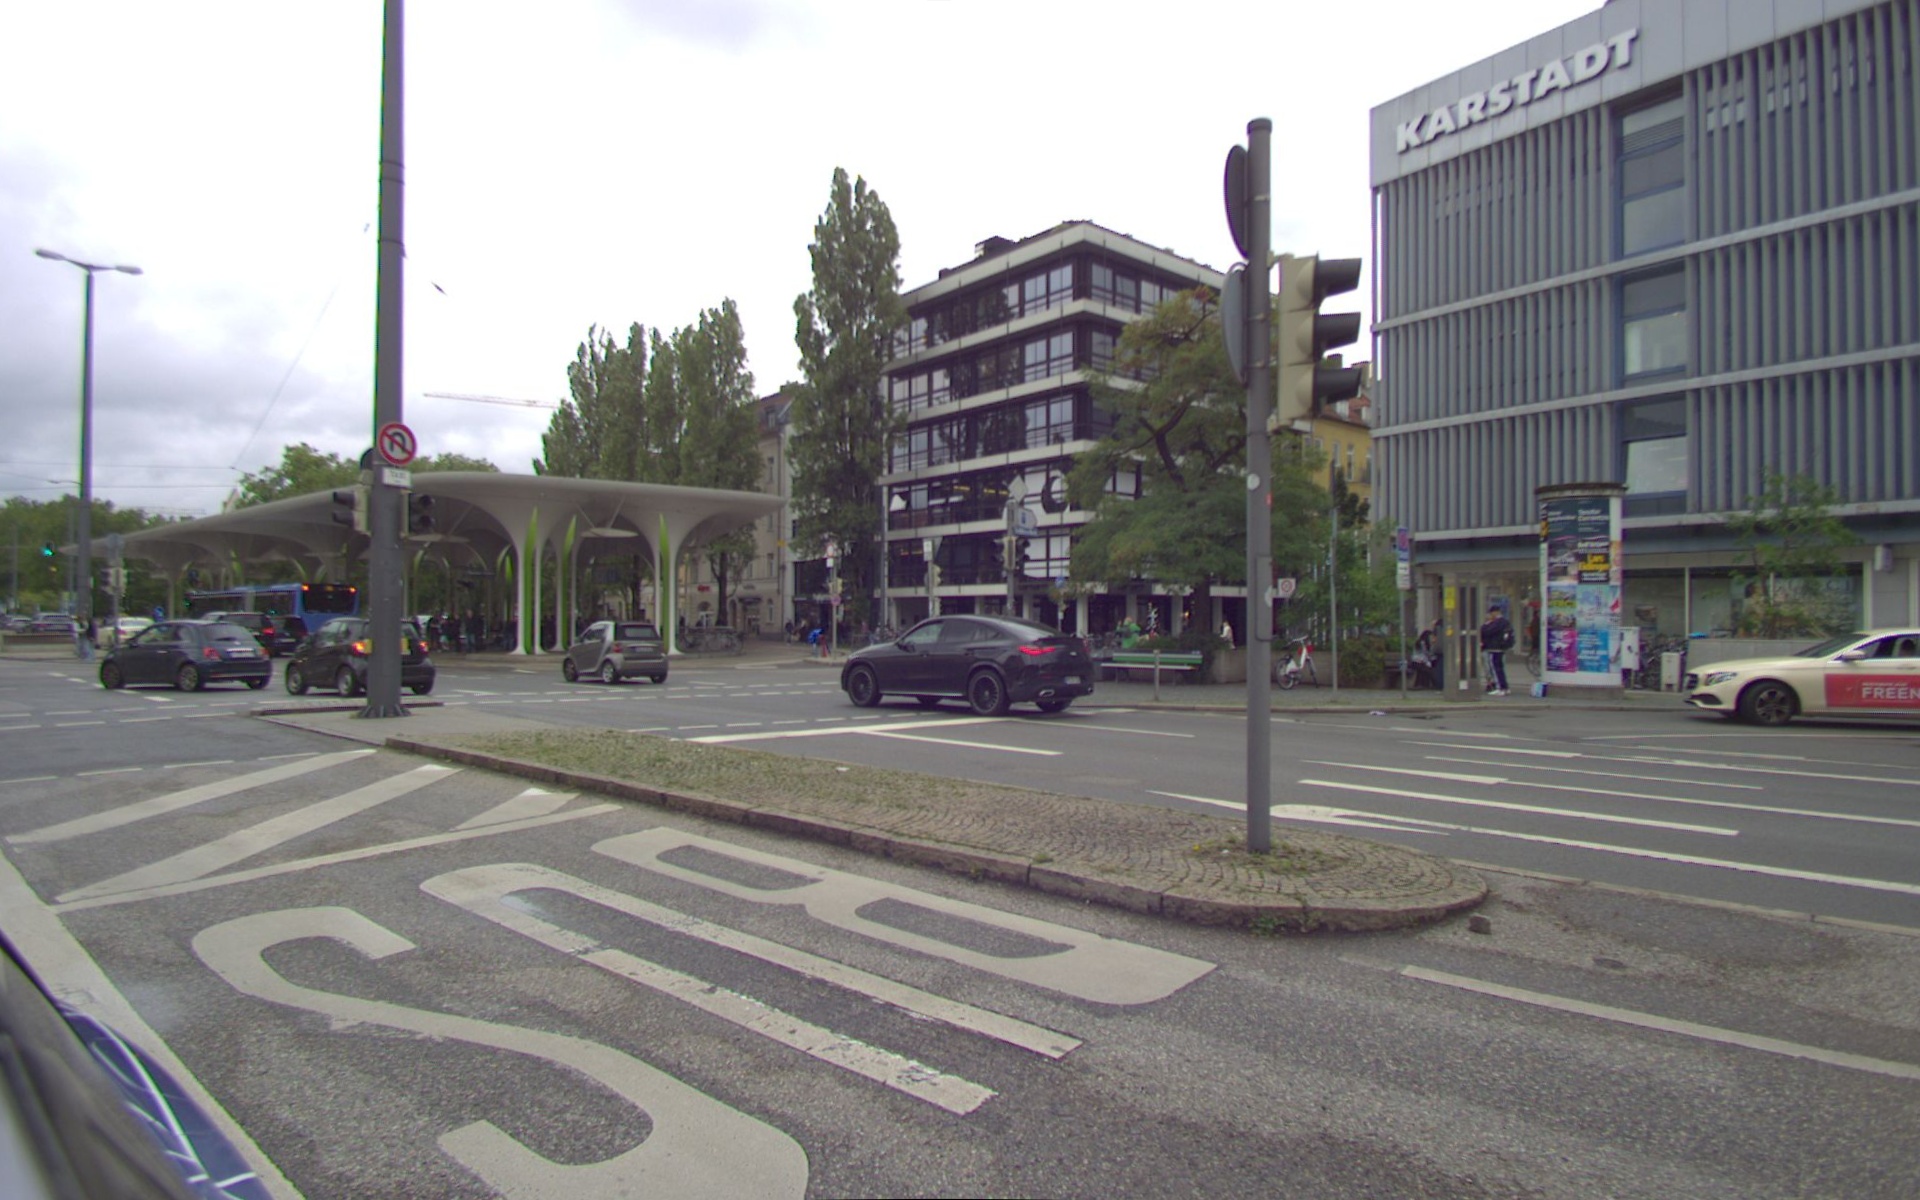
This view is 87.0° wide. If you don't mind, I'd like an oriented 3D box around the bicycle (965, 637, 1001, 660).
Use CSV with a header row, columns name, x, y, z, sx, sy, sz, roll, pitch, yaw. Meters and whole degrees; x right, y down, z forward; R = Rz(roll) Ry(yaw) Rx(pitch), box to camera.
name,x,y,z,sx,sy,sz,roll,pitch,yaw
bicycle,1.171,2.452,51.386,2.044,1.142,0.561,1,-2,-44

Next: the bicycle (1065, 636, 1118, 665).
name,x,y,z,sx,sy,sz,roll,pitch,yaw
bicycle,4.735,1.814,36.518,1.925,1.006,0.503,-1,-2,42

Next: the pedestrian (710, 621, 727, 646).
name,x,y,z,sx,sy,sz,roll,pitch,yaw
pedestrian,-17.373,2.419,72.831,0.943,1.786,0.980,0,-2,9

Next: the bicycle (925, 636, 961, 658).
name,x,y,z,sx,sy,sz,roll,pitch,yaw
bicycle,-0.885,2.468,53.687,2.044,1.142,0.561,1,-2,-44

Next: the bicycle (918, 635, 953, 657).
name,x,y,z,sx,sy,sz,roll,pitch,yaw
bicycle,-1.307,2.471,54.136,2.044,1.142,0.561,1,-2,-44

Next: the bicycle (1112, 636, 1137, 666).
name,x,y,z,sx,sy,sz,roll,pitch,yaw
bicycle,5.867,1.802,36.151,0.503,1.006,1.926,0,-2,-2

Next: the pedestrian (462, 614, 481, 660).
name,x,y,z,sx,sy,sz,roll,pitch,yaw
pedestrian,-20.258,1.522,41.975,0.656,1.865,0.790,1,-2,-29

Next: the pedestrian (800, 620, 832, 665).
name,x,y,z,sx,sy,sz,roll,pitch,yaw
pedestrian,-5.850,1.726,41.042,0.980,1.791,0.849,-2,-2,42

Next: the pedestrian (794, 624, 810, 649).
name,x,y,z,sx,sy,sz,roll,pitch,yaw
pedestrian,-11.001,2.529,70.287,0.788,1.737,0.828,1,-2,-38

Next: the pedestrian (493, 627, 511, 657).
name,x,y,z,sx,sy,sz,roll,pitch,yaw
pedestrian,-20.511,1.867,45.330,0.591,1.348,0.542,-2,-2,40

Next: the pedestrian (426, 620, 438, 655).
name,x,y,z,sx,sy,sz,roll,pitch,yaw
pedestrian,-23.196,1.653,44.489,0.316,1.514,0.331,-1,-2,32

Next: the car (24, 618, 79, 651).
name,x,y,z,sx,sy,sz,roll,pitch,yaw
car,-49.509,1.839,55.142,3.999,1.696,1.823,-1,0,42

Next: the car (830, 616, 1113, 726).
name,x,y,z,sx,sy,sz,roll,pitch,yaw
car,0.078,1.082,16.913,4.616,1.589,1.972,-1,-2,42

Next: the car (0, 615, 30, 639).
name,x,y,z,sx,sy,sz,roll,pitch,yaw
car,-64.915,1.855,68.959,3.998,1.549,1.824,-1,0,41

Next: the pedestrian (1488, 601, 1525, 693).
name,x,y,z,sx,sy,sz,roll,pitch,yaw
pedestrian,10.899,0.914,20.175,0.510,1.792,0.555,-1,0,44

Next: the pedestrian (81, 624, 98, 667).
name,x,y,z,sx,sy,sz,roll,pitch,yaw
pedestrian,-29.601,1.538,34.423,0.380,1.430,0.352,-2,-2,41

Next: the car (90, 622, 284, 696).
name,x,y,z,sx,sy,sz,roll,pitch,yaw
car,-16.483,1.227,21.613,3.359,1.491,1.619,-1,-3,17

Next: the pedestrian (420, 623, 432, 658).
name,x,y,z,sx,sy,sz,roll,pitch,yaw
pedestrian,-23.358,1.774,44.253,0.316,1.514,0.317,-1,-2,32

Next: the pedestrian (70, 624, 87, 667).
name,x,y,z,sx,sy,sz,roll,pitch,yaw
pedestrian,-30.028,1.542,34.485,0.380,1.430,0.352,-2,-2,41

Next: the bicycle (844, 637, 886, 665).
name,x,y,z,sx,sy,sz,roll,pitch,yaw
bicycle,-3.870,2.068,41.351,1.660,1.106,0.470,-1,-2,17

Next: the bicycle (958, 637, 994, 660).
name,x,y,z,sx,sy,sz,roll,pitch,yaw
bicycle,0.836,2.455,51.903,2.044,1.142,0.561,1,-2,-44

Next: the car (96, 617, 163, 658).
name,x,y,z,sx,sy,sz,roll,pitch,yaw
car,-36.620,1.615,44.596,3.999,1.696,1.737,-1,0,42

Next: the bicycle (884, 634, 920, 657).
name,x,y,z,sx,sy,sz,roll,pitch,yaw
bicycle,-2.727,2.130,47.462,1.655,1.106,0.472,0,-2,8

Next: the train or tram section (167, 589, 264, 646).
name,x,y,z,sx,sy,sz,roll,pitch,yaw
train or tram section,-41.844,1.009,56.824,7.403,3.024,2.804,-1,-2,41

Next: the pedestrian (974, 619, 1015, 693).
name,x,y,z,sx,sy,sz,roll,pitch,yaw
pedestrian,0.763,1.213,22.190,0.754,1.563,0.636,-1,0,16

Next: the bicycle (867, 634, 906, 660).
name,x,y,z,sx,sy,sz,roll,pitch,yaw
bicycle,-3.227,2.051,44.455,1.660,1.106,0.470,-1,-2,17

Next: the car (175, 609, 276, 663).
name,x,y,z,sx,sy,sz,roll,pitch,yaw
car,-25.830,1.233,35.546,4.306,1.785,1.972,-1,-3,42

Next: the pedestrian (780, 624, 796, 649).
name,x,y,z,sx,sy,sz,roll,pitch,yaw
pedestrian,-11.566,2.453,68.013,0.821,1.712,0.907,1,-2,-27

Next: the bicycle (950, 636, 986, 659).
name,x,y,z,sx,sy,sz,roll,pitch,yaw
bicycle,0.424,2.458,52.363,2.044,1.142,0.561,1,-2,-44

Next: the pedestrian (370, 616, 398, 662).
name,x,y,z,sx,sy,sz,roll,pitch,yaw
pedestrian,-22.534,1.519,39.562,0.788,1.762,0.702,-2,-2,40

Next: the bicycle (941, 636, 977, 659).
name,x,y,z,sx,sy,sz,roll,pitch,yaw
bicycle,-0.044,2.461,52.843,2.044,1.142,0.561,1,-2,-44

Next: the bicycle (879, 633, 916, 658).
name,x,y,z,sx,sy,sz,roll,pitch,yaw
bicycle,-2.830,2.043,45.807,1.660,1.106,0.470,-1,-2,17

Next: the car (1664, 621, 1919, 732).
name,x,y,z,sx,sy,sz,roll,pitch,yaw
car,13.119,1.070,14.872,4.277,1.522,1.843,-1,-2,27

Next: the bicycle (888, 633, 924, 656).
name,x,y,z,sx,sy,sz,roll,pitch,yaw
bicycle,-2.601,2.148,48.728,1.655,1.106,0.472,0,-2,8

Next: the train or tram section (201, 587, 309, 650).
name,x,y,z,sx,sy,sz,roll,pitch,yaw
train or tram section,-36.284,0.961,51.991,7.403,3.024,2.804,-1,-2,41

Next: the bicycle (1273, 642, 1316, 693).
name,x,y,z,sx,sy,sz,roll,pitch,yaw
bicycle,7.000,1.401,21.156,0.419,1.024,1.281,-1,-2,39

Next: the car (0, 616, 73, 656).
name,x,y,z,sx,sy,sz,roll,pitch,yaw
car,-37.566,1.420,41.064,3.999,1.481,1.897,0,0,42

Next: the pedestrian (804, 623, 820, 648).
name,x,y,z,sx,sy,sz,roll,pitch,yaw
pedestrian,-10.369,2.518,70.960,0.788,1.737,0.828,1,-2,-38

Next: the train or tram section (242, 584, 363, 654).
name,x,y,z,sx,sy,sz,roll,pitch,yaw
train or tram section,-30.696,0.909,47.121,7.403,3.024,2.804,-1,-2,41

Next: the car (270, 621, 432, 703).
name,x,y,z,sx,sy,sz,roll,pitch,yaw
car,-12.012,1.169,19.964,2.776,1.518,1.547,-1,-1,28

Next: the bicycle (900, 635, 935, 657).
name,x,y,z,sx,sy,sz,roll,pitch,yaw
bicycle,-2.303,2.480,55.057,2.044,1.142,0.561,1,-2,-44

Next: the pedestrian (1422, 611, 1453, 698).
name,x,y,z,sx,sy,sz,roll,pitch,yaw
pedestrian,9.579,1.074,20.295,0.459,1.712,0.426,-1,0,40

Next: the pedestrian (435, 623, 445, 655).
name,x,y,z,sx,sy,sz,roll,pitch,yaw
pedestrian,-22.792,1.711,44.346,0.270,1.387,0.299,-1,-2,39

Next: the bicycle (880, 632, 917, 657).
name,x,y,z,sx,sy,sz,roll,pitch,yaw
bicycle,-2.841,2.041,46.522,1.660,1.106,0.470,-1,-2,17

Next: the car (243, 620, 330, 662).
name,x,y,z,sx,sy,sz,roll,pitch,yaw
car,-26.893,1.605,40.376,3.998,1.597,1.907,-1,-2,41

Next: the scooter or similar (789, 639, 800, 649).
name,x,y,z,sx,sy,sz,roll,pitch,yaw
scooter or similar,-11.560,3.089,70.820,0.511,0.720,0.681,1,-2,-38

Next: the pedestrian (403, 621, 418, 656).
name,x,y,z,sx,sy,sz,roll,pitch,yaw
pedestrian,-23.944,1.672,44.086,0.420,1.514,0.490,0,-2,-8

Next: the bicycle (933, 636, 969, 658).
name,x,y,z,sx,sy,sz,roll,pitch,yaw
bicycle,-0.455,2.465,53.261,2.044,1.142,0.561,1,-2,-44

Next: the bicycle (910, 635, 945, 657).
name,x,y,z,sx,sy,sz,roll,pitch,yaw
bicycle,-1.758,2.475,54.561,2.044,1.142,0.561,1,-2,-44

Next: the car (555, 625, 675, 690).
name,x,y,z,sx,sy,sz,roll,pitch,yaw
car,-8.680,1.406,25.401,2.744,1.527,1.653,-1,-2,39

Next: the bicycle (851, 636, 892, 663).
name,x,y,z,sx,sy,sz,roll,pitch,yaw
bicycle,-3.668,2.063,42.131,1.660,1.106,0.470,-1,-2,17

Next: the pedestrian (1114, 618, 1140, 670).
name,x,y,z,sx,sy,sz,roll,pitch,yaw
pedestrian,5.765,1.515,34.894,0.647,1.748,0.757,-1,-2,34

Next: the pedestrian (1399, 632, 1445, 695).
name,x,y,z,sx,sy,sz,roll,pitch,yaw
pedestrian,9.981,1.363,21.886,0.774,1.318,0.537,-2,-2,42

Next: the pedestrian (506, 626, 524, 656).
name,x,y,z,sx,sy,sz,roll,pitch,yaw
pedestrian,-20.120,1.861,45.735,0.591,1.348,0.542,-2,-2,40
